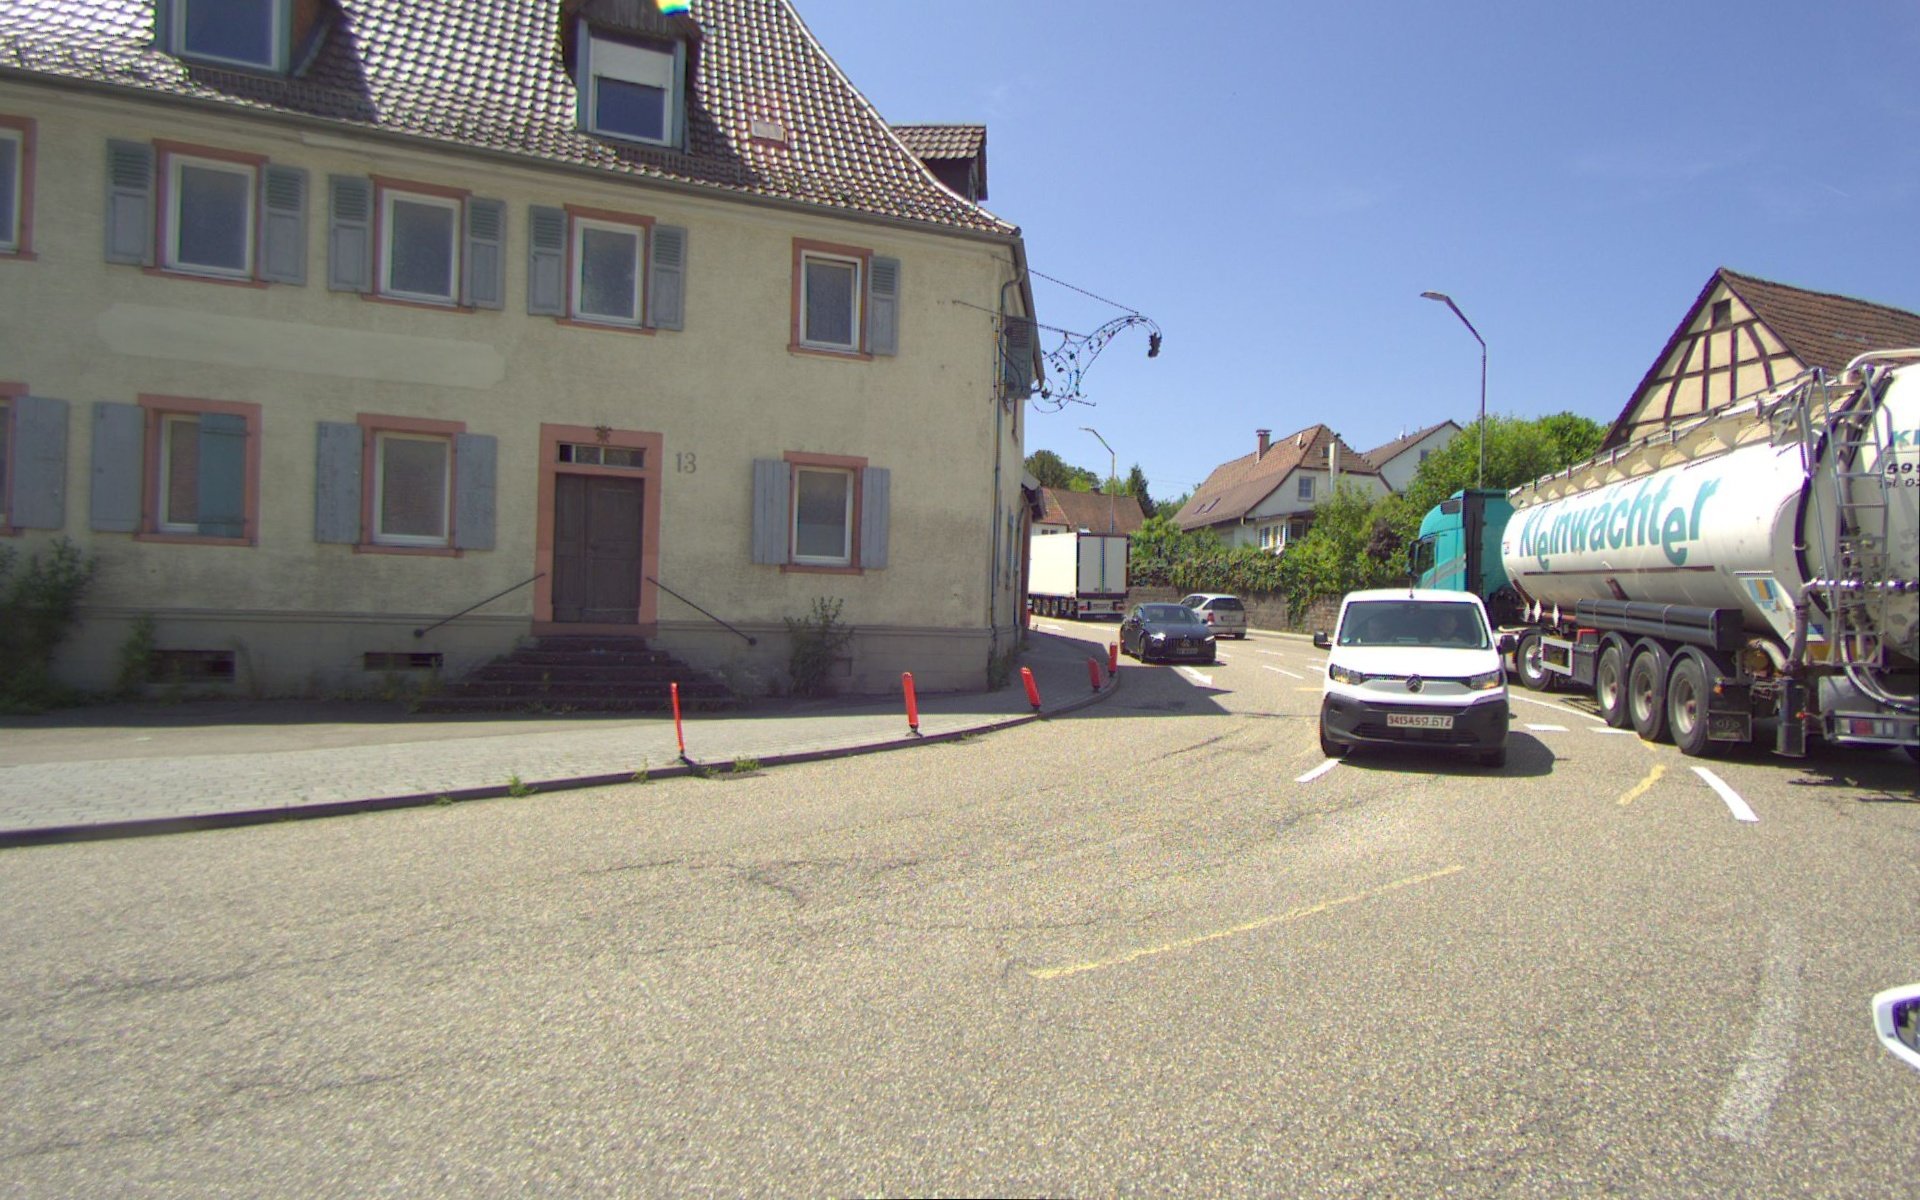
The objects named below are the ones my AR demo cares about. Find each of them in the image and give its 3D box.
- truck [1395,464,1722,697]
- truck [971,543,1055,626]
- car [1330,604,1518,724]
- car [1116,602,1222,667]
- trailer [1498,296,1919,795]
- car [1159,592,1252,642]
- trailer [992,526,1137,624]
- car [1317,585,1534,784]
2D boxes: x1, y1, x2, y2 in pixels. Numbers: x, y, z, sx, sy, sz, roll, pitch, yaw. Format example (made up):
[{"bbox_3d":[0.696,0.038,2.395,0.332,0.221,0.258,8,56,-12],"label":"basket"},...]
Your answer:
[{"bbox_3d":[11.791,-0.367,20.529,2.940,4.018,5.574,2,1,-5],"label":"truck"},{"bbox_3d":[3.006,-0.915,58.576,3.063,4.460,5.917,3,1,-15],"label":"truck"},{"bbox_3d":[7.239,0.899,16.111,1.761,1.544,4.002,2,1,11],"label":"car"},{"bbox_3d":[5.246,0.826,25.755,1.806,1.461,3.999,1,1,-1],"label":"car"},{"bbox_3d":[10.038,-0.448,13.407,2.903,4.001,11.619,2,1,18],"label":"trailer"},{"bbox_3d":[8.689,0.578,35.811,1.757,1.606,3.597,2,0,-12],"label":"car"},{"bbox_3d":[4.951,-1.179,51.440,3.090,4.334,12.456,1,0,-15],"label":"trailer"},{"bbox_3d":[5.221,0.782,11.673,1.843,1.809,4.520,1,0,22],"label":"car"}]
